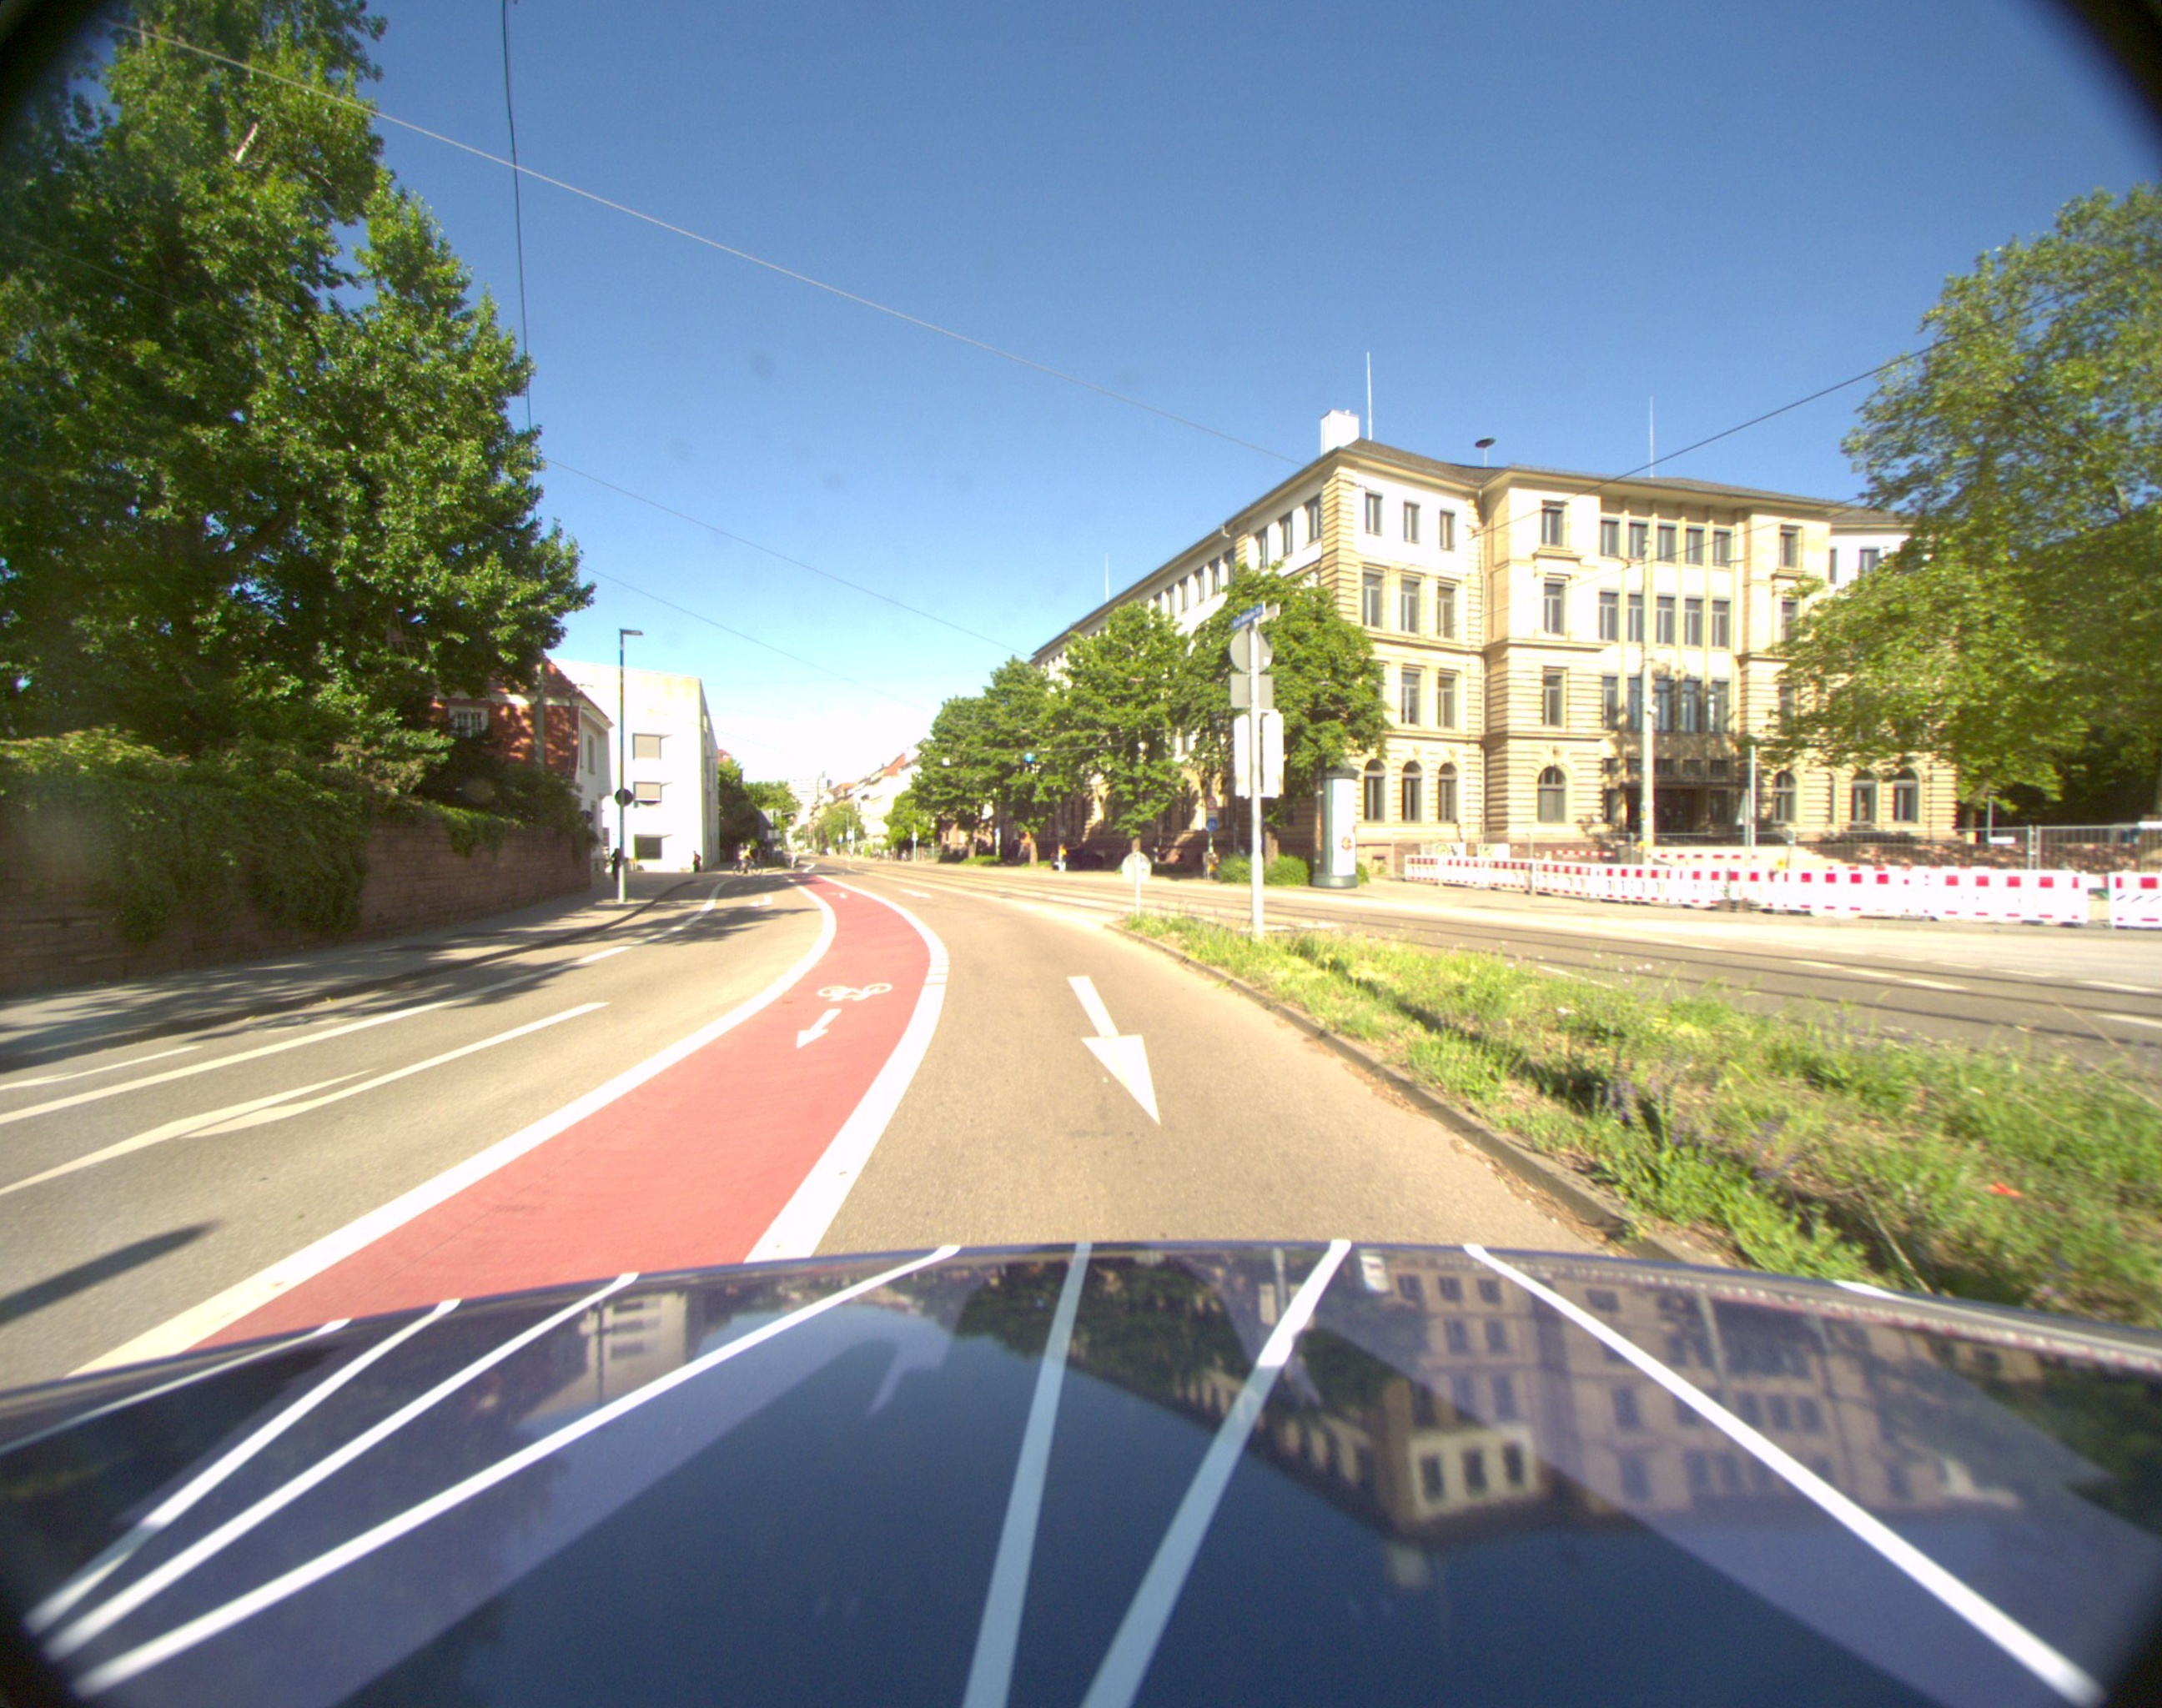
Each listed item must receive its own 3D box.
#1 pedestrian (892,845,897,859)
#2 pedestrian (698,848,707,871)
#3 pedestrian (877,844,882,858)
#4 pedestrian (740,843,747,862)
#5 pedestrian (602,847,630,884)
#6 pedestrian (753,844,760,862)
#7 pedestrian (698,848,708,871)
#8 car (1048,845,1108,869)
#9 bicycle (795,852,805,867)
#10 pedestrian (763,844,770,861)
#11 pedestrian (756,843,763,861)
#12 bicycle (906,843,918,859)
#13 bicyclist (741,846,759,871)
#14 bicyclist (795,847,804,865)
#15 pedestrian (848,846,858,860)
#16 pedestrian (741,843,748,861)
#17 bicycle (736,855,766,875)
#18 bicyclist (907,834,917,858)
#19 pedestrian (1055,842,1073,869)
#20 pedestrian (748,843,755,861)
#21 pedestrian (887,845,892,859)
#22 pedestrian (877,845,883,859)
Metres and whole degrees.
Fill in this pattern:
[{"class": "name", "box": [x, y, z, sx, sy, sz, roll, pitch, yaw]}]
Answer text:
[{"class": "pedestrian", "box": [-24.628, -0.327, 100.246, 0.579, 1.845, 0.683, -1, 2, -22]}, {"class": "pedestrian", "box": [-25.748, 0.398, 51.715, 0.521, 1.557, 0.533, -1, 2, -24]}, {"class": "pedestrian", "box": [-27.478, -0.399, 103.658, 0.579, 1.845, 0.683, -1, 2, -22]}, {"class": "pedestrian", "box": [-33.325, -0.156, 74.947, 0.588, 1.796, 0.544, -1, 2, -24]}, {"class": "pedestrian", "box": [-21.554, 0.522, 35.219, 0.941, 1.668, 0.952, 2, 1, -24]}, {"class": "pedestrian", "box": [-32.794, -0.127, 76.783, 0.588, 1.796, 0.581, -1, 2, -24]}, {"class": "pedestrian", "box": [-25.995, 0.383, 52.261, 0.521, 1.557, 0.533, -1, 2, -24]}, {"class": "car", "box": [-0.158, 0.169, 52.260, 1.915, 1.565, 4.118, 1, 1, 40]}, {"class": "bicycle", "box": [-24.131, 0.464, 65.253, 0.666, 1.146, 1.669, -2, 3, -19]}, {"class": "pedestrian", "box": [-31.400, -0.174, 75.906, 0.588, 1.717, 0.519, -1, 2, -24]}, {"class": "pedestrian", "box": [-31.971, -0.212, 75.497, 0.588, 1.796, 0.519, -1, 2, -24]}, {"class": "bicycle", "box": [-21.405, -0.393, 96.139, 1.004, 1.877, 3.890, -2, 2, -6]}, {"class": "bicyclist", "box": [-21.265, 0.291, 48.750, 0.881, 1.574, 0.743, -3, 3, -33]}, {"class": "bicyclist", "box": [-24.132, 0.157, 65.221, 0.666, 1.453, 0.621, -2, 3, -19]}, {"class": "pedestrian", "box": [-29.204, -0.133, 97.330, 0.933, 1.728, 0.677, -1, 2, -42]}, {"class": "pedestrian", "box": [-33.750, -0.229, 76.273, 0.588, 1.796, 0.581, -1, 2, -24]}, {"class": "bicycle", "box": [-21.200, 0.692, 48.806, 1.601, 1.145, 0.743, -3, 3, -33]}, {"class": "bicyclist", "box": [-21.399, -1.076, 96.061, 1.004, 2.959, 1.472, -2, 3, -6]}, {"class": "pedestrian", "box": [-1.119, 0.127, 48.938, 0.773, 1.658, 1.032, 1, -3, -27]}, {"class": "pedestrian", "box": [-32.670, -0.183, 75.235, 0.588, 1.796, 0.544, -1, 2, -24]}, {"class": "pedestrian", "box": [-25.176, -0.300, 99.819, 0.579, 1.845, 0.683, -1, 2, -22]}, {"class": "pedestrian", "box": [-27.448, -0.248, 103.731, 0.729, 1.845, 0.653, -1, 1, -20]}]
